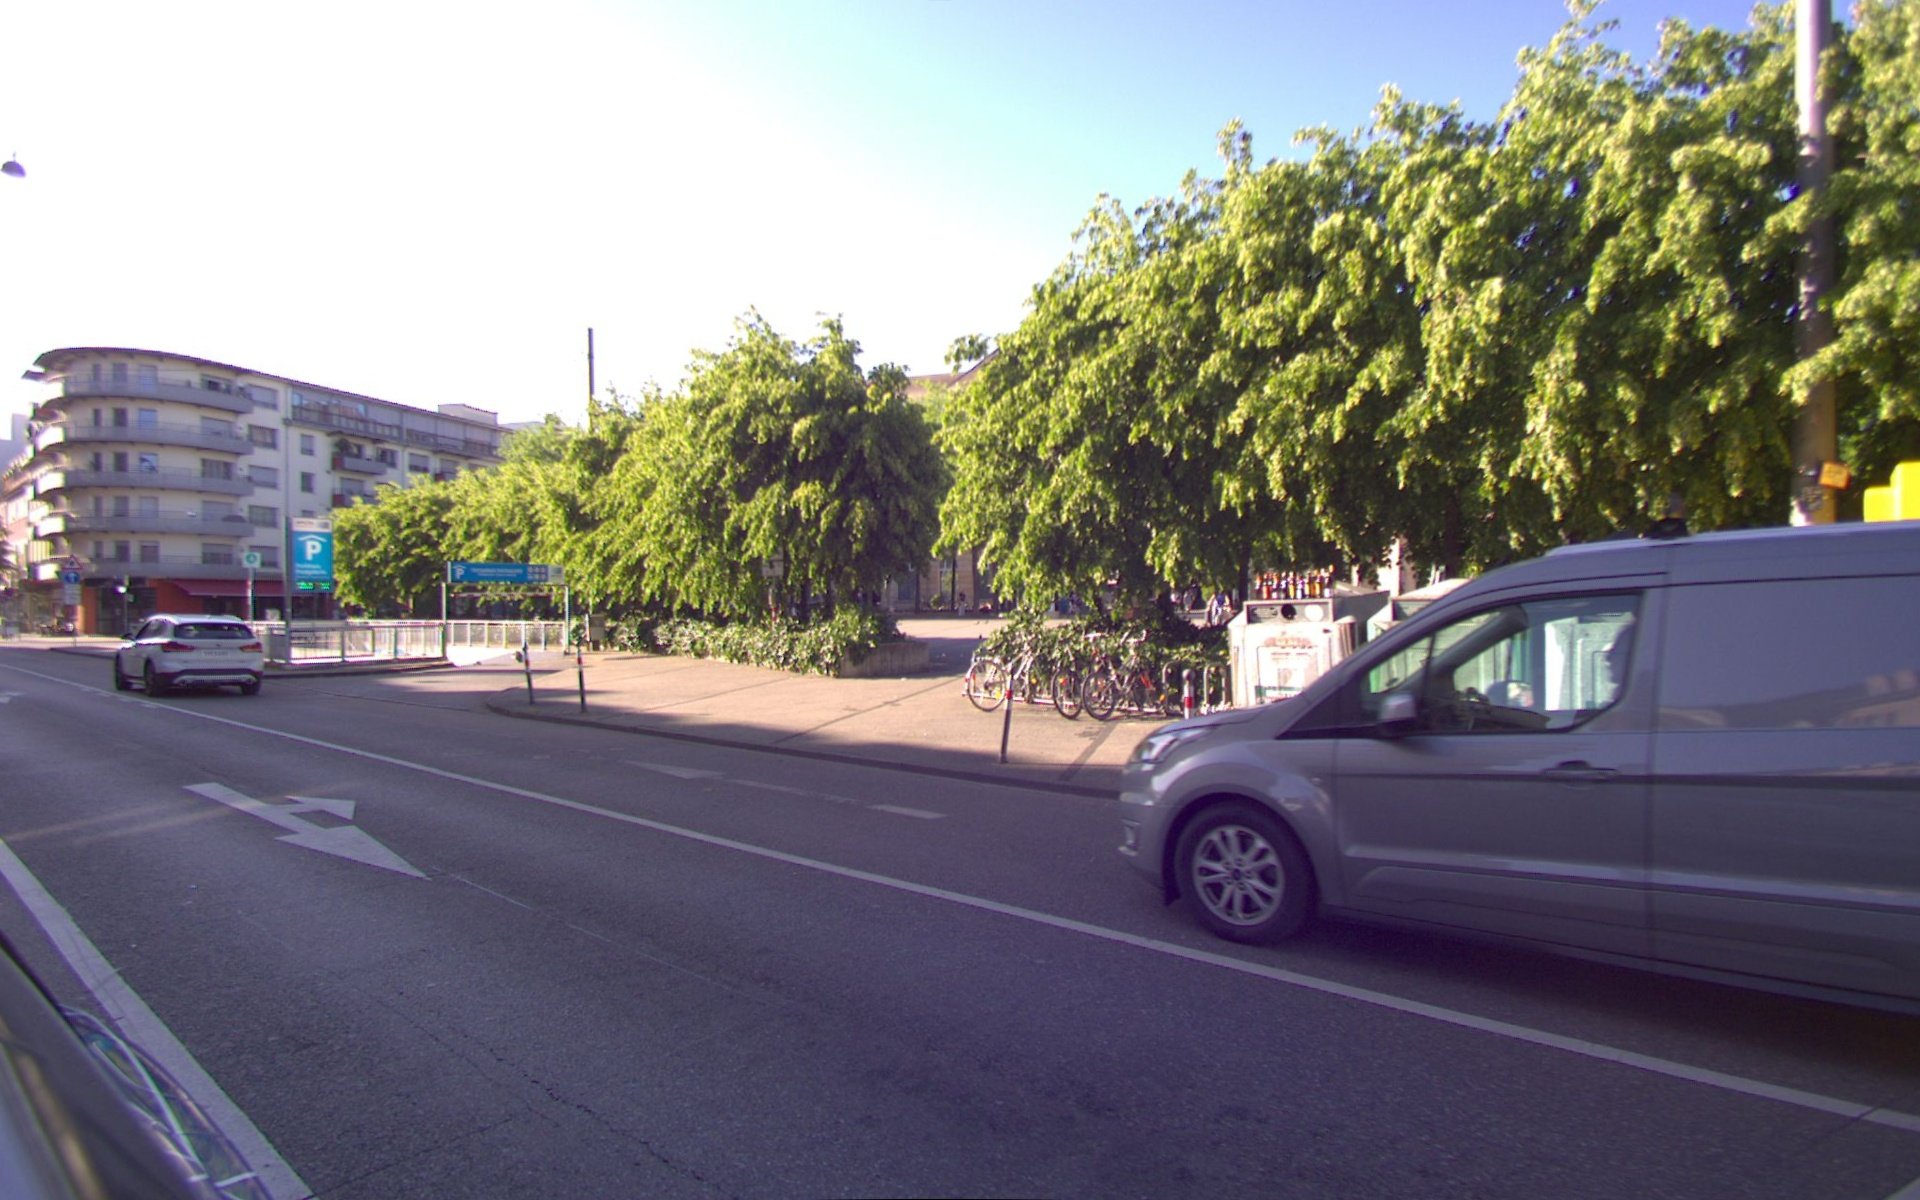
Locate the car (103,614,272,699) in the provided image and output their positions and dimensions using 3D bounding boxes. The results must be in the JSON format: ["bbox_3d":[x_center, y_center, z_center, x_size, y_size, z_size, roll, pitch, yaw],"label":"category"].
[{"bbox_3d":[-15.804,1.098,20.640,4.236,1.559,1.822,-1,-3,40],"label":"car"}]

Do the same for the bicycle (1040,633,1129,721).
[{"bbox_3d":[1.646,0.974,13.213,0.364,1.039,1.529,-1,0,40],"label":"bicycle"}]

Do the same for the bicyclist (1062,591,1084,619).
[{"bbox_3d":[6.003,0.249,53.780,0.936,1.483,0.649,-1,0,-31],"label":"bicyclist"}]

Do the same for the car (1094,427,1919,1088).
[{"bbox_3d":[3.105,0.508,4.102,4.780,1.962,1.973,-1,-3,40],"label":"car"}]

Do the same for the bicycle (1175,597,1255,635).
[{"bbox_3d":[7.972,0.497,31.759,0.927,1.141,2.486,0,0,-31],"label":"bicycle"}]

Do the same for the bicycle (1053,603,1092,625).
[{"bbox_3d":[5.976,0.723,53.770,2.088,1.112,0.699,-1,0,-31],"label":"bicycle"}]

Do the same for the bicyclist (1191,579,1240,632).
[{"bbox_3d":[7.996,0.171,31.707,0.927,1.620,1.174,0,0,-31],"label":"bicyclist"}]

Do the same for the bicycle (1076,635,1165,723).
[{"bbox_3d":[2.075,0.983,12.968,0.364,1.010,1.539,-1,0,40],"label":"bicycle"}]

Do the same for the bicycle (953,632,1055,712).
[{"bbox_3d":[0.632,0.987,14.211,1.506,1.039,0.365,-1,0,-34],"label":"bicycle"}]

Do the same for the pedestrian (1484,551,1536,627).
[{"bbox_3d":[22.230,-0.421,40.893,1.528,3.001,1.726,-1,-1,38],"label":"pedestrian"}]
